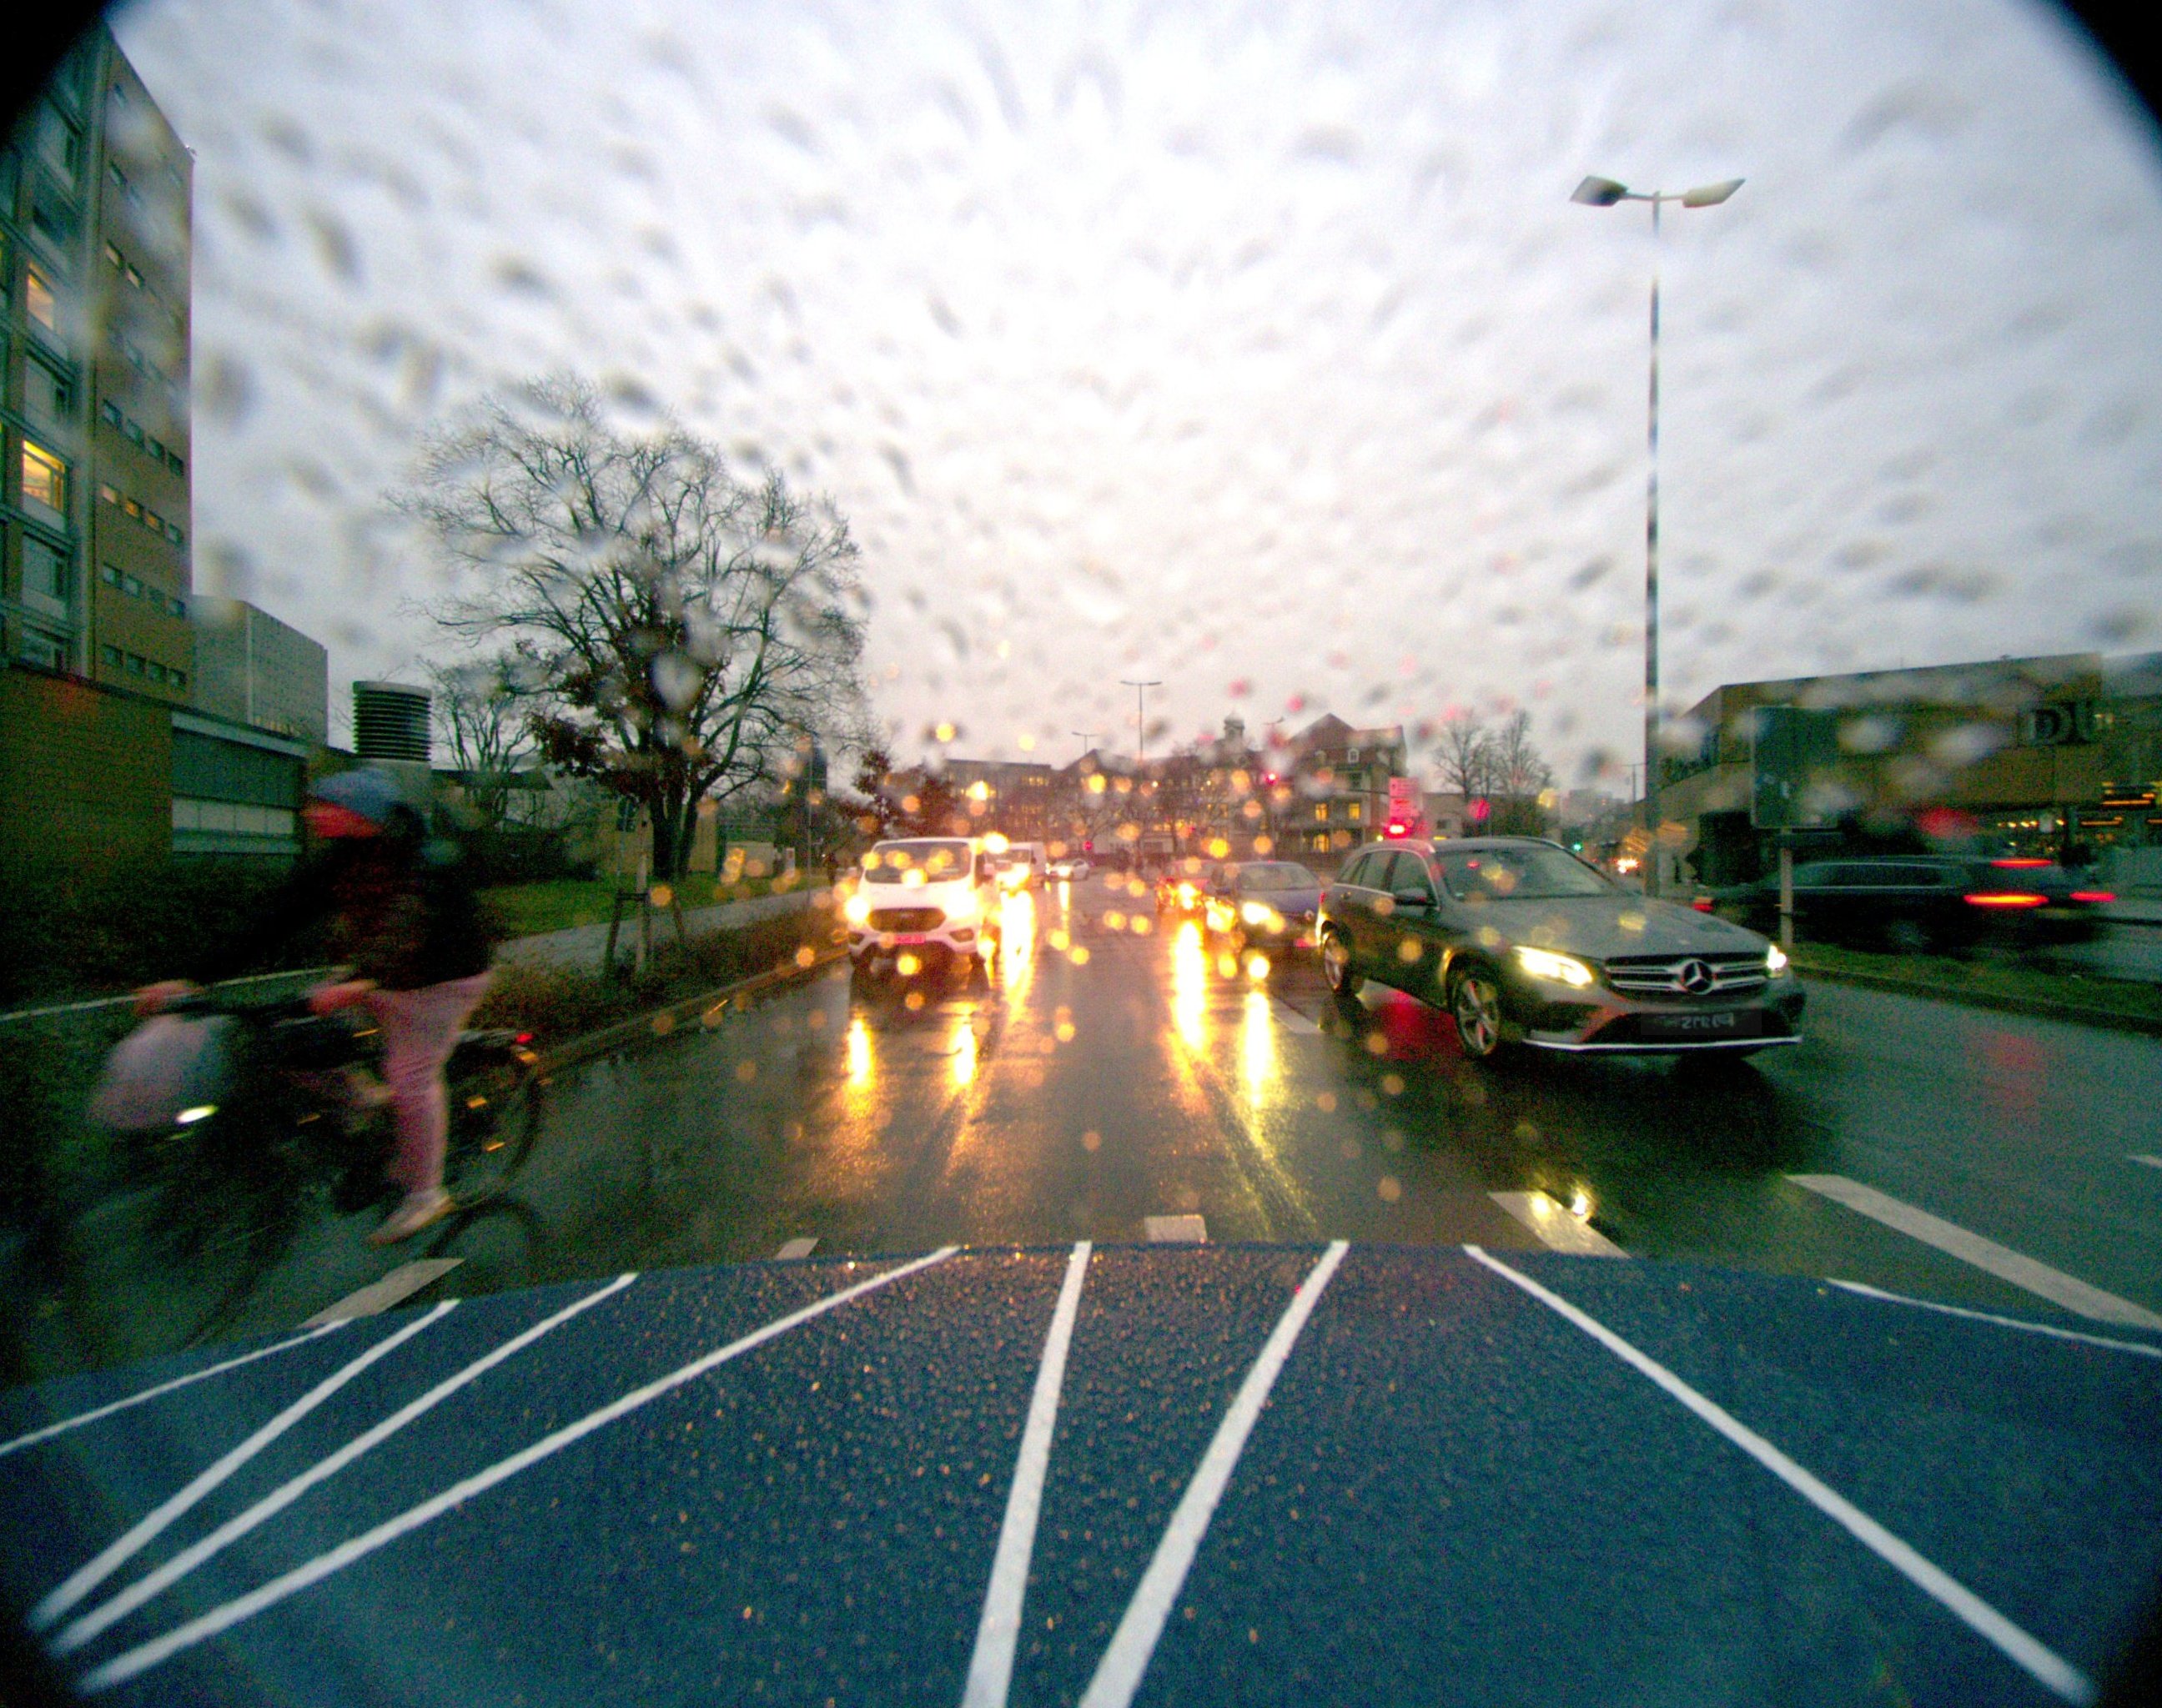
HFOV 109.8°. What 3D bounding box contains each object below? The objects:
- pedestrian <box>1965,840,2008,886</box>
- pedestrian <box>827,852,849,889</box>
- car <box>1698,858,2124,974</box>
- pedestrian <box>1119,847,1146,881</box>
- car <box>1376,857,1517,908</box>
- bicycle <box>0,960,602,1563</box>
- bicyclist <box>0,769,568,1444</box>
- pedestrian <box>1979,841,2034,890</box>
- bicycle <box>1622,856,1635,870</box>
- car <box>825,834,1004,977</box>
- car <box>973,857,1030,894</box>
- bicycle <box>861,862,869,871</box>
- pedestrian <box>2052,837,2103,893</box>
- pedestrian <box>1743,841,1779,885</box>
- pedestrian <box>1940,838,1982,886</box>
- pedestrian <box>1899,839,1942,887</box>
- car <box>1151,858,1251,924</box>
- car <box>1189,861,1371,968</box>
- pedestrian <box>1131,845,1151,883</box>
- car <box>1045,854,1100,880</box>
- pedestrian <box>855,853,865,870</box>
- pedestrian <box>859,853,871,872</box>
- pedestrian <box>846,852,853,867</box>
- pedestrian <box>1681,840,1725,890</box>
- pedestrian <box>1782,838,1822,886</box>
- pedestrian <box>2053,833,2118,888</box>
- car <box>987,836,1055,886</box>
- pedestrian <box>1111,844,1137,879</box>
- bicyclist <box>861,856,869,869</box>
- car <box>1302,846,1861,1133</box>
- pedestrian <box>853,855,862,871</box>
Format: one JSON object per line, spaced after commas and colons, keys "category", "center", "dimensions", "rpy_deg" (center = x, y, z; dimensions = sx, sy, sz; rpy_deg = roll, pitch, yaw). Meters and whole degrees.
{"category": "pedestrian", "center": [33.866, 0.331, 28.426], "dimensions": [0.743, 1.716, 0.743], "rpy_deg": [0, 0, -9]}
{"category": "pedestrian", "center": [-11.305, 0.776, 35.353], "dimensions": [0.913, 1.677, 0.926], "rpy_deg": [1, -2, -16]}
{"category": "car", "center": [12.426, 0.806, 11.930], "dimensions": [1.677, 1.365, 4.448], "rpy_deg": [-2, 0, -3]}
{"category": "pedestrian", "center": [2.906, 0.590, 42.745], "dimensions": [1.037, 1.846, 1.068], "rpy_deg": [1, -2, -38]}
{"category": "car", "center": [11.547, 0.835, 24.433], "dimensions": [1.811, 1.411, 4.820], "rpy_deg": [-1, 0, -6]}
{"category": "bicycle", "center": [-2.811, 1.145, 2.822], "dimensions": [0.794, 1.215, 1.904], "rpy_deg": [-2, 0, 1]}
{"category": "bicyclist", "center": [-2.813, 0.713, 2.740], "dimensions": [1.026, 1.872, 1.235], "rpy_deg": [-2, 1, 0]}
{"category": "pedestrian", "center": [30.853, 0.363, 25.350], "dimensions": [0.854, 1.593, 0.967], "rpy_deg": [0, 0, 28]}
{"category": "bicycle", "center": [45.288, 0.792, 62.848], "dimensions": [0.645, 1.097, 2.757], "rpy_deg": [-2, -3, 33]}
{"category": "car", "center": [-2.518, 0.791, 12.863], "dimensions": [2.137, 1.909, 5.017], "rpy_deg": [-1, -2, -3]}
{"category": "car", "center": [-3.457, 0.982, 33.896], "dimensions": [1.753, 1.494, 4.320], "rpy_deg": [-1, -2, 4]}
{"category": "bicycle", "center": [-26.746, 1.548, 94.020], "dimensions": [0.807, 1.134, 2.210], "rpy_deg": [3, -1, -19]}
{"category": "pedestrian", "center": [31.664, 0.340, 24.143], "dimensions": [0.801, 1.740, 0.761], "rpy_deg": [0, 0, -18]}
{"category": "pedestrian", "center": [26.604, 0.339, 29.731], "dimensions": [0.741, 1.716, 0.744], "rpy_deg": [0, 0, 7]}
{"category": "pedestrian", "center": [31.678, 0.295, 27.358], "dimensions": [0.743, 1.716, 0.743], "rpy_deg": [0, 0, -14]}
{"category": "pedestrian", "center": [30.461, 0.323, 27.576], "dimensions": [0.741, 1.716, 0.744], "rpy_deg": [0, 0, 7]}
{"category": "car", "center": [3.070, 0.908, 20.201], "dimensions": [1.705, 1.473, 3.870], "rpy_deg": [-3, 0, -5]}
{"category": "car", "center": [3.091, 0.866, 12.725], "dimensions": [1.664, 1.396, 4.118], "rpy_deg": [-2, 0, -4]}
{"category": "pedestrian", "center": [3.197, 0.524, 40.766], "dimensions": [0.848, 1.993, 1.109], "rpy_deg": [-1, -2, -6]}
{"category": "car", "center": [-0.531, 0.837, 51.731], "dimensions": [1.834, 1.634, 4.825], "rpy_deg": [0, 0, 25]}
{"category": "pedestrian", "center": [-24.547, 0.819, 84.488], "dimensions": [0.934, 1.815, 0.832], "rpy_deg": [0, 1, -23]}
{"category": "pedestrian", "center": [-19.860, 0.778, 69.883], "dimensions": [0.934, 1.815, 0.832], "rpy_deg": [0, 1, -23]}
{"category": "pedestrian", "center": [-29.576, 0.708, 97.165], "dimensions": [0.767, 2.002, 0.908], "rpy_deg": [0, 1, -24]}
{"category": "pedestrian", "center": [24.074, 0.439, 29.414], "dimensions": [1.237, 1.846, 1.033], "rpy_deg": [1, -3, -40]}
{"category": "pedestrian", "center": [26.776, 0.303, 28.227], "dimensions": [0.662, 1.757, 0.832], "rpy_deg": [0, 0, -18]}
{"category": "pedestrian", "center": [35.885, 0.225, 27.180], "dimensions": [1.120, 1.907, 1.065], "rpy_deg": [0, 0, 35]}
{"category": "car", "center": [-3.184, 0.478, 41.968], "dimensions": [2.344, 2.502, 5.874], "rpy_deg": [-1, -2, 9]}
{"category": "pedestrian", "center": [2.587, 0.441, 45.172], "dimensions": [1.032, 2.037, 1.218], "rpy_deg": [-2, -2, 34]}
{"category": "bicyclist", "center": [-26.739, 1.038, 94.044], "dimensions": [0.807, 1.608, 1.084], "rpy_deg": [3, 0, -19]}
{"category": "car", "center": [3.533, 0.768, 6.611], "dimensions": [1.790, 1.591, 4.540], "rpy_deg": [-2, 0, -1]}
{"category": "pedestrian", "center": [-25.891, 1.010, 88.118], "dimensions": [0.934, 1.815, 0.832], "rpy_deg": [0, 1, -23]}
